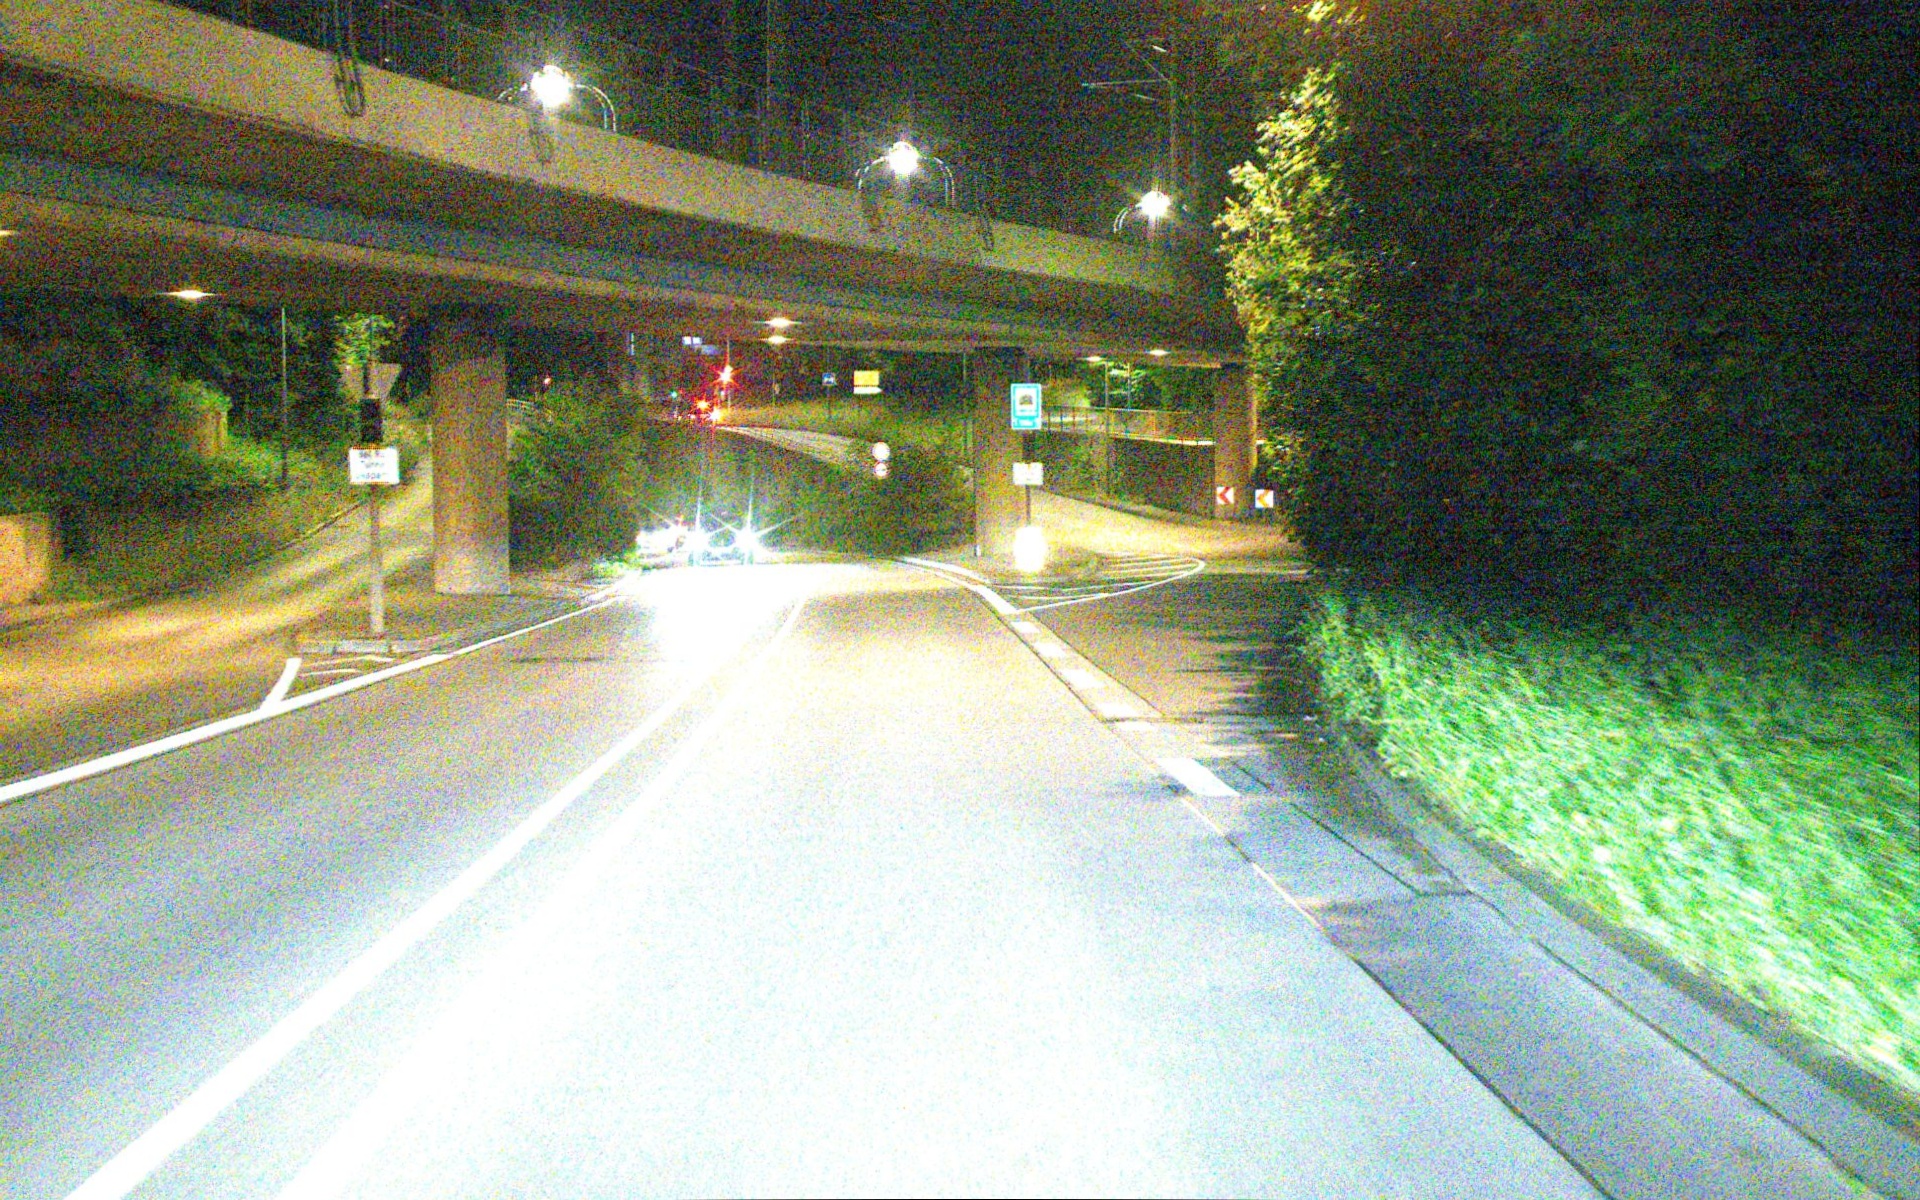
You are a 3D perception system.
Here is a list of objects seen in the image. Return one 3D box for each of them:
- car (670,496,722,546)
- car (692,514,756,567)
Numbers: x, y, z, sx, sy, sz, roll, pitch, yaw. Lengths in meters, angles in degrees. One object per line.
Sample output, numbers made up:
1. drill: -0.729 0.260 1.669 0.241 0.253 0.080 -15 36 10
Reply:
1. car: -11.465 -3.406 149.010 1.918 2.007 4.123 2 0 -8
2. car: -7.154 -1.789 104.305 1.881 1.549 4.218 -1 1 -4
